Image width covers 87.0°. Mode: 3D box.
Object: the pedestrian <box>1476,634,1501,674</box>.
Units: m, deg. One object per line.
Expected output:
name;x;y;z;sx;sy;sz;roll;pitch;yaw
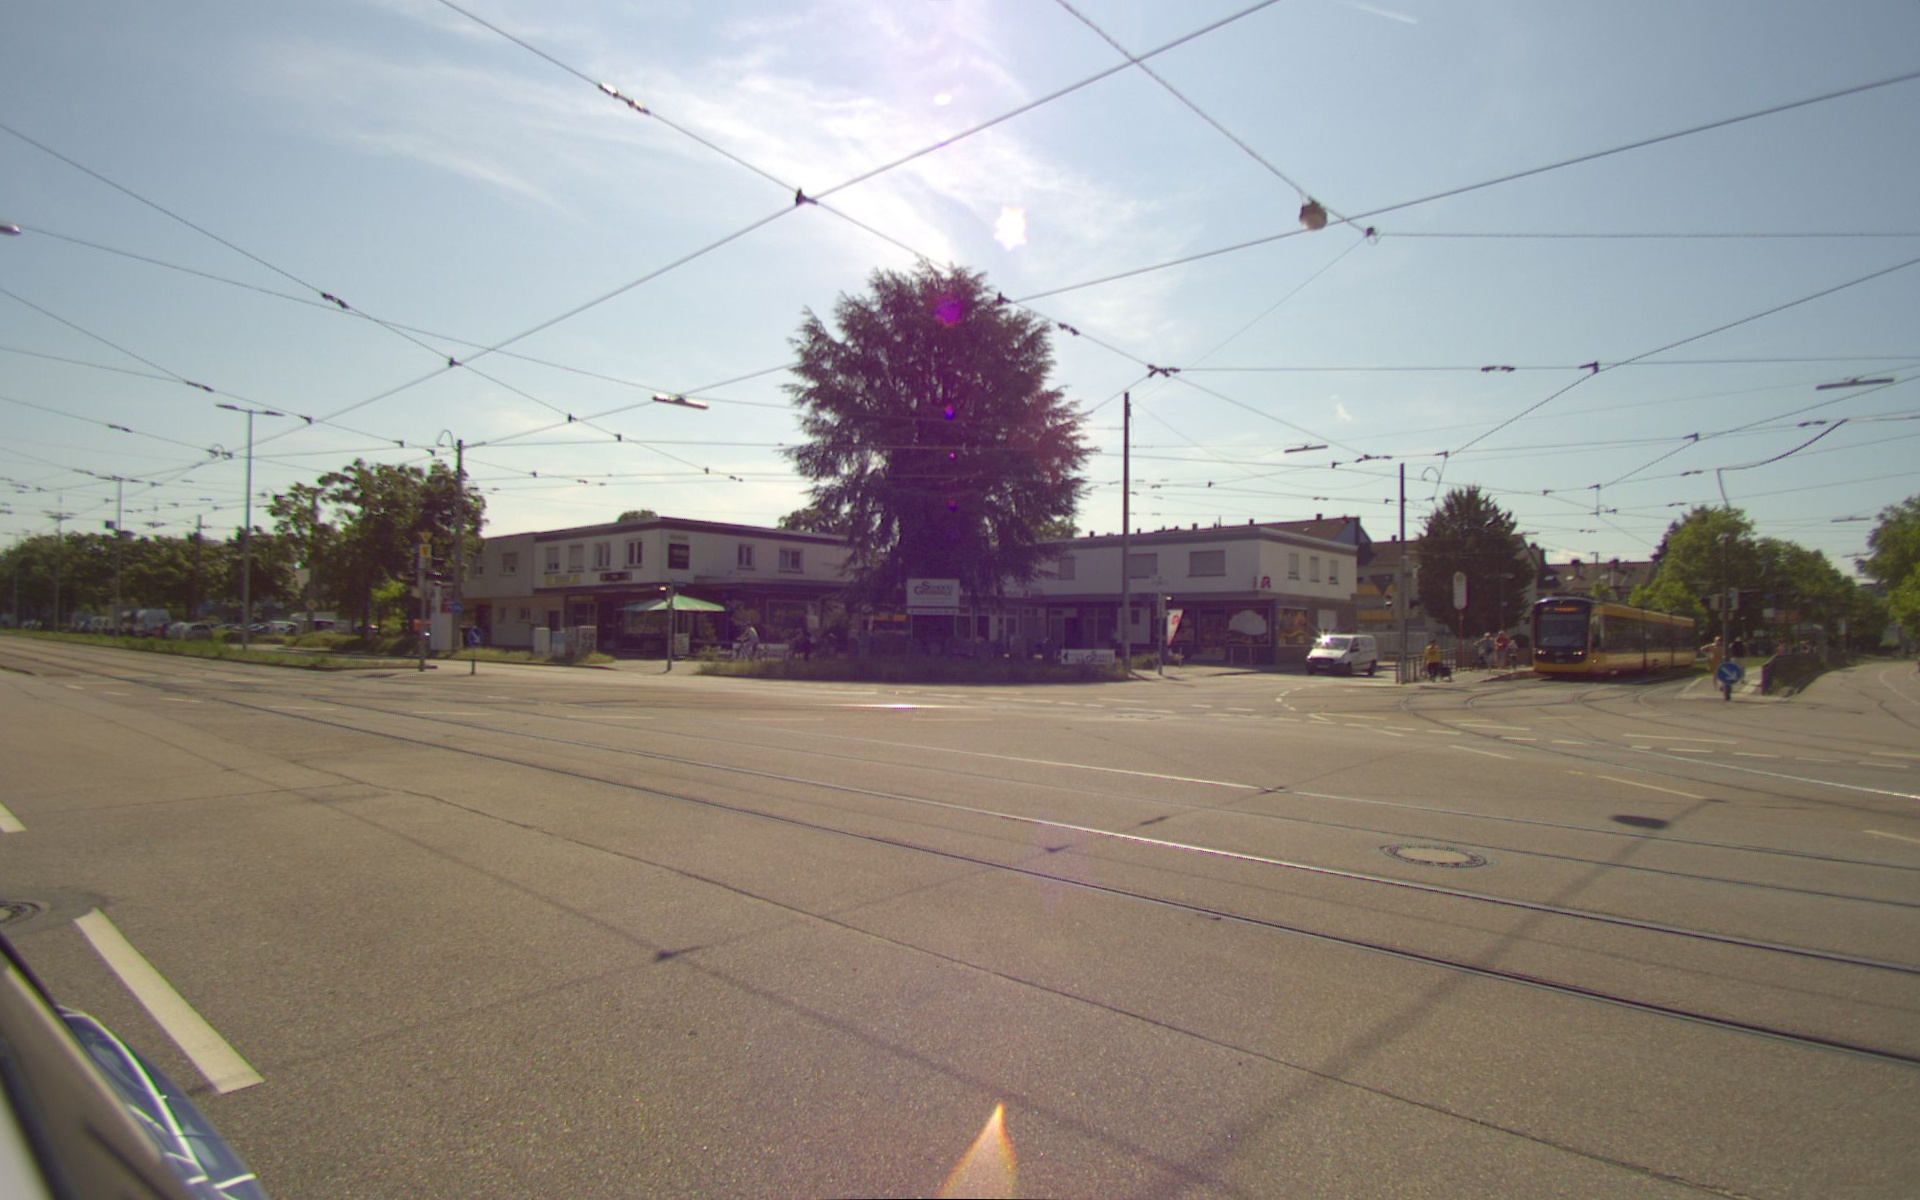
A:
pedestrian;22.261;2.264;42.660;0.785;1.639;0.651;-2;-4;42

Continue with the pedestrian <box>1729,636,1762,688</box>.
pedestrian;27.420;2.145;35.334;0.799;1.773;0.764;3;-4;-43

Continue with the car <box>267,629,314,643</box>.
car;-66.547;3.582;100.659;1.711;1.291;3.578;-1;-3;40

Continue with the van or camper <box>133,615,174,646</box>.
van or camper;-72.450;2.740;90.847;4.838;2.652;2.013;-1;-3;42

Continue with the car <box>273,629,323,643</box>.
car;-63.247;3.477;96.682;1.811;1.291;3.578;-1;-3;40

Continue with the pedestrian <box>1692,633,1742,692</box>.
pedestrian;24.537;2.002;32.782;1.123;1.850;1.418;-2;-4;43

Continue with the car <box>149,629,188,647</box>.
car;-68.331;3.288;87.346;4.231;1.506;1.868;-1;-3;42

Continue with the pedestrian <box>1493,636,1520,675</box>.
pedestrian;24.101;2.455;44.604;0.813;1.693;1.078;-2;-4;42

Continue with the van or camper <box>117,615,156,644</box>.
van or camper;-77.746;2.819;95.506;4.838;2.652;2.013;-1;-3;42

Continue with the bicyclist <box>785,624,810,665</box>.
bicyclist;-6.389;1.733;39.830;0.758;1.587;0.629;0;-3;12

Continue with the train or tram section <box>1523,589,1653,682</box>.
train or tram section;28.791;1.699;45.977;2.768;3.686;13.716;-1;-3;41

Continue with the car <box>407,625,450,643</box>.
car;-56.218;3.589;107.127;1.711;1.791;3.578;-1;-3;40

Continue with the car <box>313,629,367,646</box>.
car;-53.633;3.258;87.549;1.711;1.372;3.578;-1;-3;40

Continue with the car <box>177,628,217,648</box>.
car;-60.457;2.966;80.148;4.285;1.506;1.867;-2;-1;43

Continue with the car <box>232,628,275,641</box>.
car;-77.177;3.770;110.559;1.711;1.291;3.578;-1;-3;40

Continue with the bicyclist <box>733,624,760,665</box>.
bicyclist;-8.350;1.725;39.613;0.761;1.570;0.627;0;-3;23

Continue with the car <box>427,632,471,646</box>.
car;-52.557;3.973;104.099;1.711;1.372;3.578;-1;-3;40

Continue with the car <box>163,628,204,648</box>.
car;-64.353;3.160;83.825;4.284;1.572;1.868;-1;-3;42

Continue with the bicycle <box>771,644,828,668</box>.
bicycle;-6.302;2.204;39.750;2.115;0.897;0.573;0;-3;13

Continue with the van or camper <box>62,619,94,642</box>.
van or camper;-104.123;3.574;119.478;5.451;2.639;2.086;-1;-4;42

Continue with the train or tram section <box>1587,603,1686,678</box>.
train or tram section;37.841;2.313;56.286;2.768;3.686;13.716;-1;-3;41

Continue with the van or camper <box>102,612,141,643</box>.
van or camper;-83.575;2.738;100.833;5.280;3.008;2.100;-1;-3;42

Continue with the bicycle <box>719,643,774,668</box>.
bicycle;-8.332;2.163;39.510;2.119;0.954;0.532;0;-3;19

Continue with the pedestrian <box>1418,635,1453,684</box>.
pedestrian;18.160;2.257;38.662;0.896;1.852;1.185;-2;-4;42

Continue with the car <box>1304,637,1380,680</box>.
car;17.834;2.715;47.094;1.776;1.876;4.595;-1;-3;42

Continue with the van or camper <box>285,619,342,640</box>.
van or camper;-87.252;4.035;136.633;2.300;2.751;5.999;-2;-3;44

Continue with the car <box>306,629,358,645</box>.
car;-55.547;3.302;89.526;1.711;1.372;3.578;-1;-3;40

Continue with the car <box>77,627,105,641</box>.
car;-99.128;3.848;115.423;4.231;1.572;1.868;-1;-3;42

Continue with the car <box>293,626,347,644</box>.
car;-57.542;3.134;91.000;1.950;1.581;3.701;-1;-3;40
